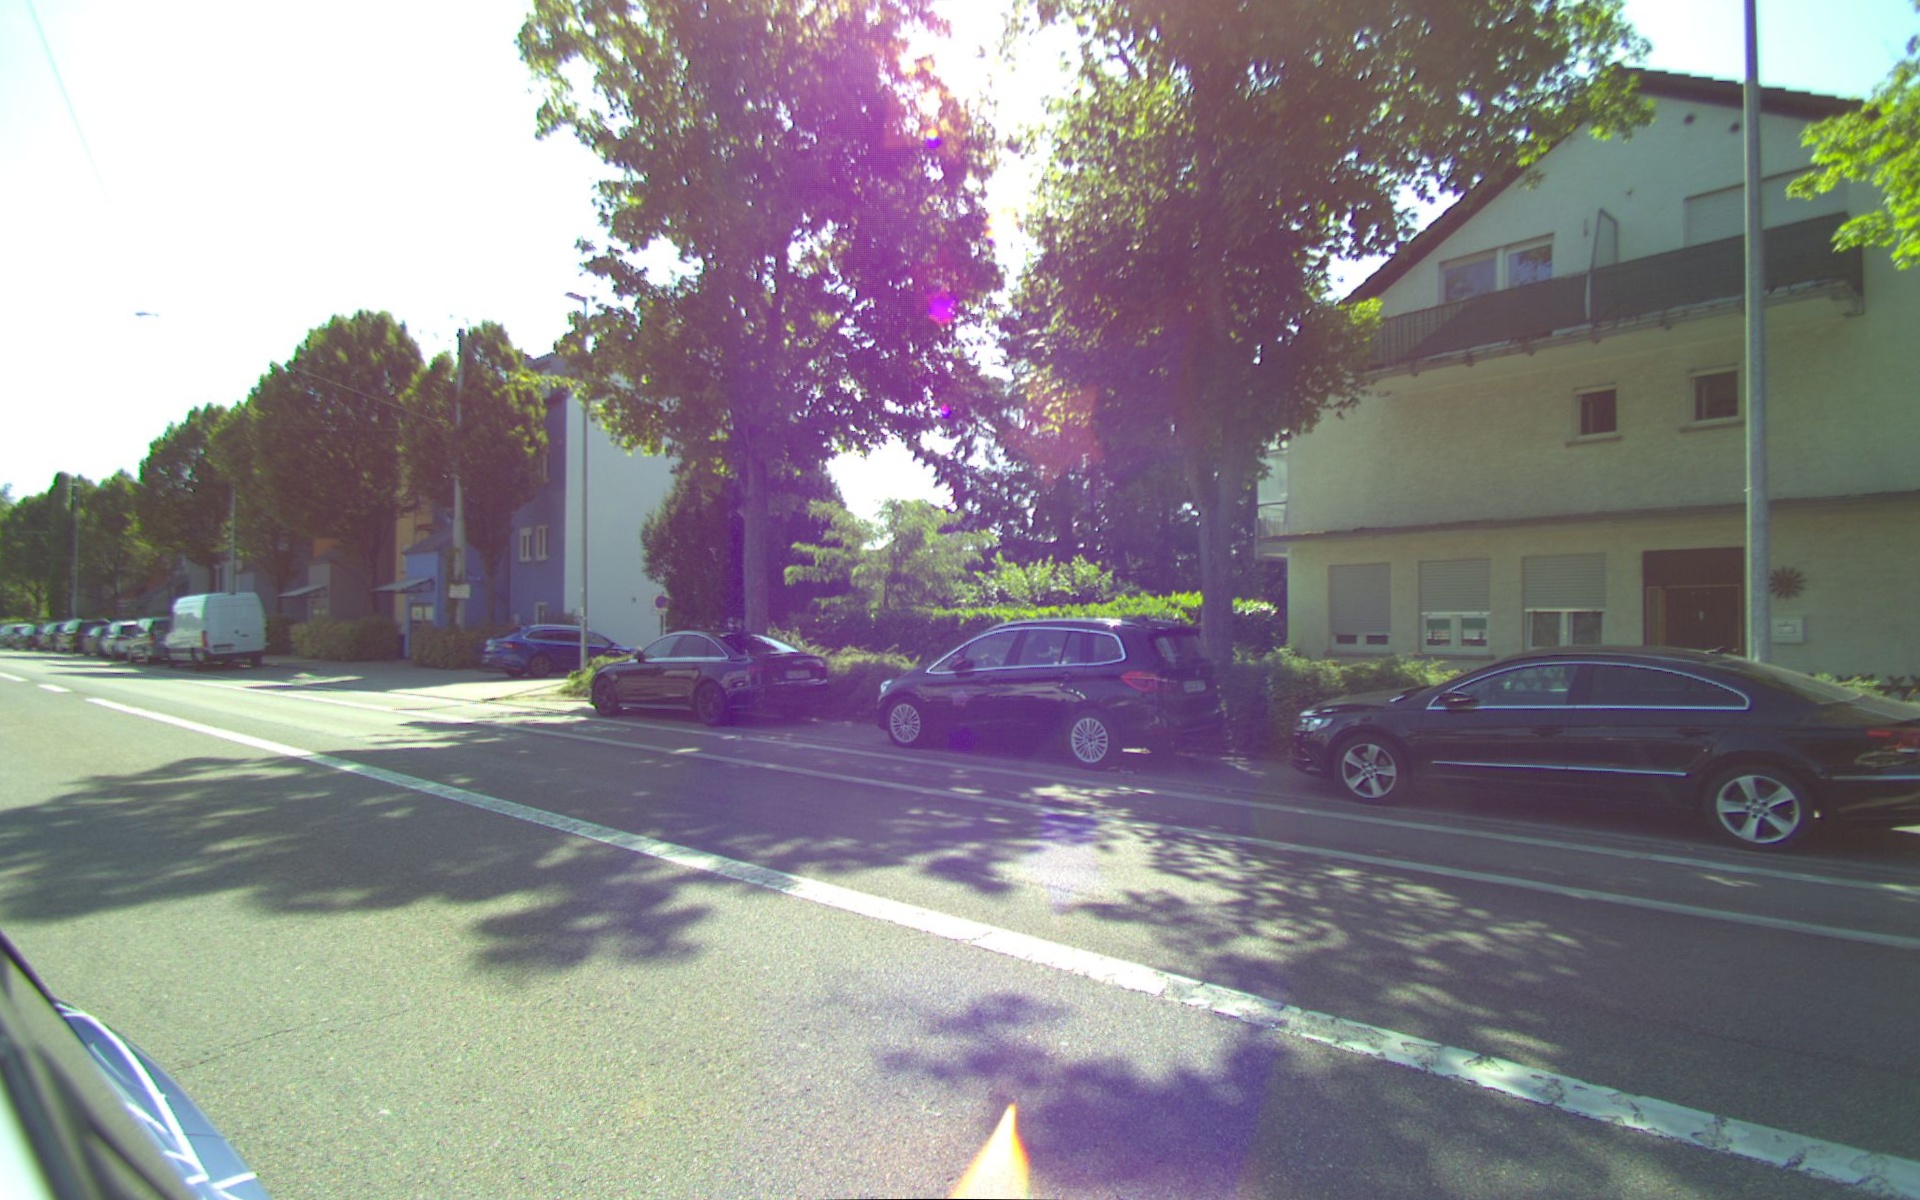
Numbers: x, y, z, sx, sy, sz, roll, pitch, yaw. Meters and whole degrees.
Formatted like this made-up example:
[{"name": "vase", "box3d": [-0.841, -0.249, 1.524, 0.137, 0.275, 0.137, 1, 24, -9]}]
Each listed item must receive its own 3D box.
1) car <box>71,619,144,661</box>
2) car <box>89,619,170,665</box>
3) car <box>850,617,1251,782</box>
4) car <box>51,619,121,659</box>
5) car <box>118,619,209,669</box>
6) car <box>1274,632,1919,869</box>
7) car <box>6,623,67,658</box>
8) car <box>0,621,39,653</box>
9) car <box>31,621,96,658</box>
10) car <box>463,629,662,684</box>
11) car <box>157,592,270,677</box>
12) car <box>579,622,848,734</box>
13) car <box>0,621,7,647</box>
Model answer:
[{"name": "car", "box3d": [-42.117, 1.949, 49.998, 4.254, 1.818, 1.974, -2, 4, 41]}, {"name": "car", "box3d": [-38.047, 1.875, 46.324, 4.766, 1.818, 1.974, -2, 4, 41]}, {"name": "car", "box3d": [0.935, 1.037, 12.240, 4.619, 1.583, 1.844, -1, 0, 41]}, {"name": "car", "box3d": [-45.837, 2.008, 53.044, 4.766, 1.818, 1.974, -2, 4, 41]}, {"name": "car", "box3d": [-33.458, 1.808, 42.481, 4.766, 1.818, 1.974, -2, 4, 41]}, {"name": "car", "box3d": [5.211, 1.018, 8.394, 4.619, 1.426, 1.844, -1, 0, 41]}, {"name": "car", "box3d": [-54.895, 2.373, 60.107, 4.766, 1.818, 1.974, -2, 4, 41]}, {"name": "car", "box3d": [-60.242, 2.349, 64.224, 4.766, 1.818, 1.974, -2, 4, 41]}, {"name": "car", "box3d": [-50.219, 2.189, 56.685, 4.766, 1.818, 1.974, -2, 4, 41]}, {"name": "car", "box3d": [-11.298, 1.585, 29.060, 1.891, 1.441, 5.002, -2, -3, 43]}, {"name": "car", "box3d": [-27.353, 1.221, 36.970, 6.213, 2.713, 1.973, -2, 4, 43]}, {"name": "car", "box3d": [-4.104, 1.159, 16.476, 4.616, 1.583, 1.845, -1, -2, 39]}, {"name": "car", "box3d": [-68.753, 2.470, 71.151, 4.766, 1.818, 1.974, -2, 4, 41]}]
